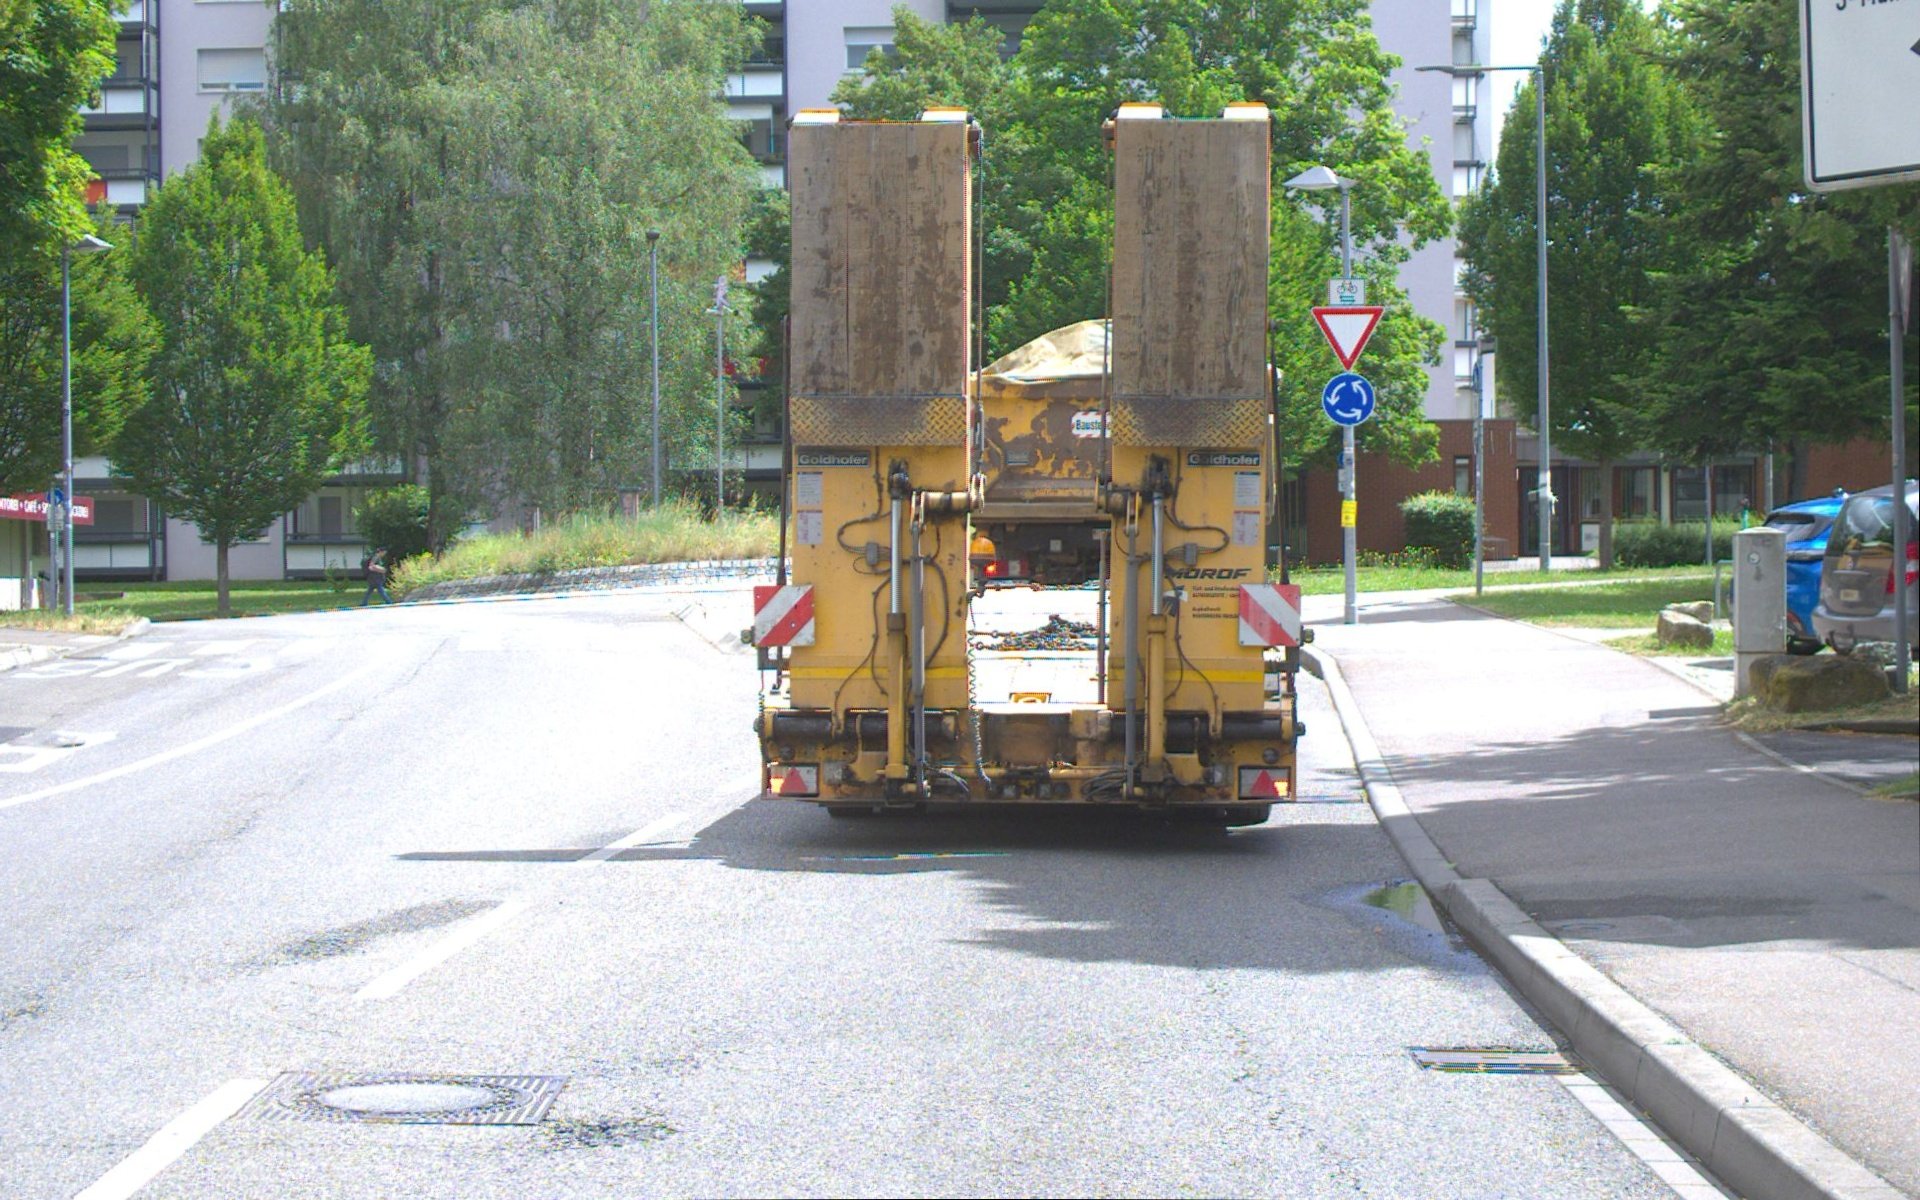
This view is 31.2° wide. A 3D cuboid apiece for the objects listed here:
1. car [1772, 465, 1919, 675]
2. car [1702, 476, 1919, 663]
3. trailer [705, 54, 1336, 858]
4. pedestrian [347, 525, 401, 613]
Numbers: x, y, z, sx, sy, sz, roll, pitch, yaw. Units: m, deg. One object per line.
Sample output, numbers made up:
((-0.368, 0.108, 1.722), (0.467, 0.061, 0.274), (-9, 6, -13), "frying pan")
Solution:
((8.576, -0.224, 26.756), (3.986, 1.556, 1.760), (1, 1, -13), "car")
((8.764, -0.263, 30.177), (3.986, 1.556, 1.760), (1, 1, -13), "car")
((0.823, -0.824, 21.903), (2.828, 3.633, 12.352), (1, 2, 5), "trailer")
((-13.554, -0.728, 79.455), (0.907, 2.007, 0.962), (0, 2, -31), "pedestrian")
